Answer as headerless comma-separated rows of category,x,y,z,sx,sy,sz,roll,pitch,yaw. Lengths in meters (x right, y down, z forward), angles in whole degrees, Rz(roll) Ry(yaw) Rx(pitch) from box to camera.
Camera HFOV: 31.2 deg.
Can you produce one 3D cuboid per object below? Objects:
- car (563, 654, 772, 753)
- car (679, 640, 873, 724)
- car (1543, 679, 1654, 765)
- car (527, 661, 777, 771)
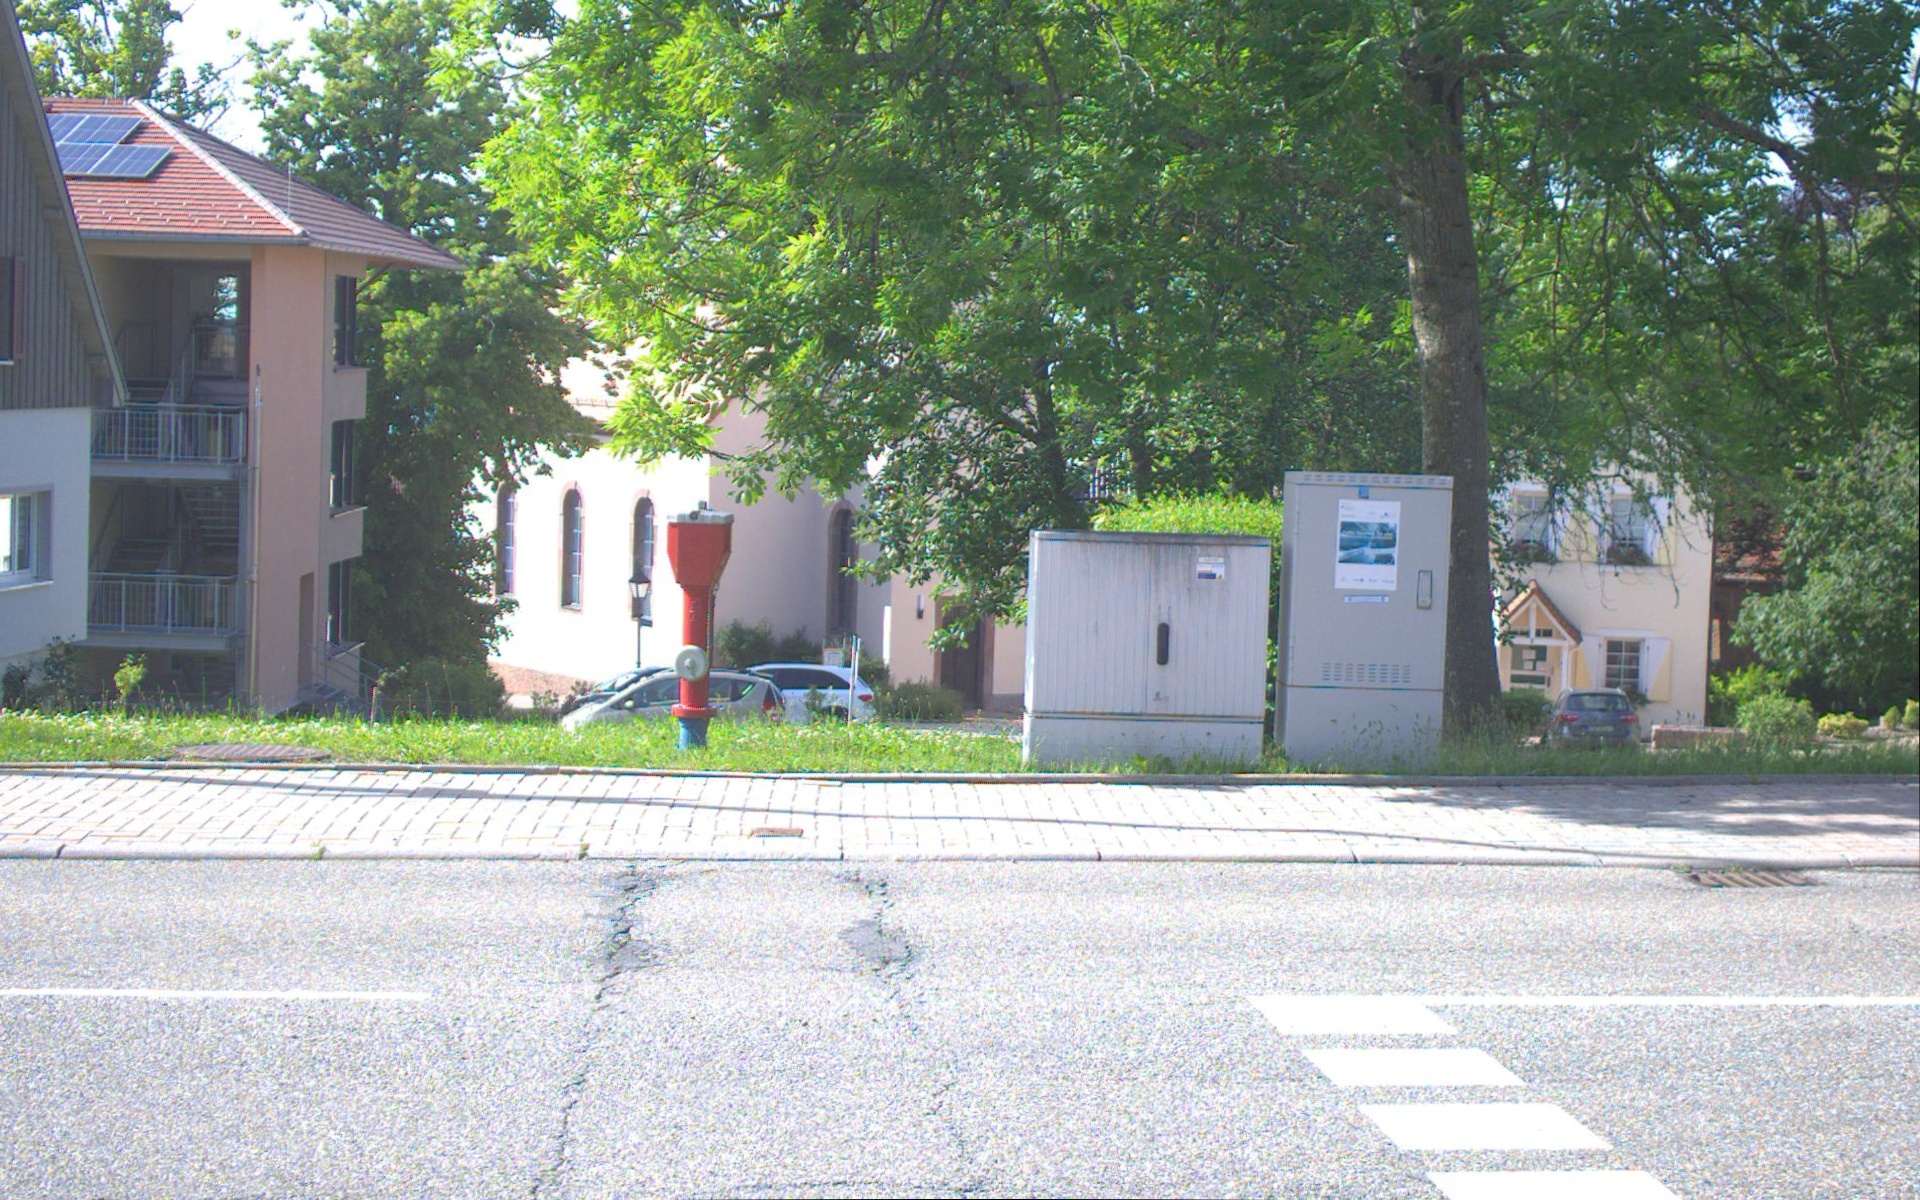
car,-5.413,1.900,63.476,3.772,1.752,1.714,1,0,-6
car,-3.679,1.627,68.497,3.772,1.588,1.714,1,0,-6
car,12.584,2.385,67.920,1.708,1.536,3.785,1,0,4
car,-5.158,1.938,57.651,4.089,1.752,1.714,1,0,-5
